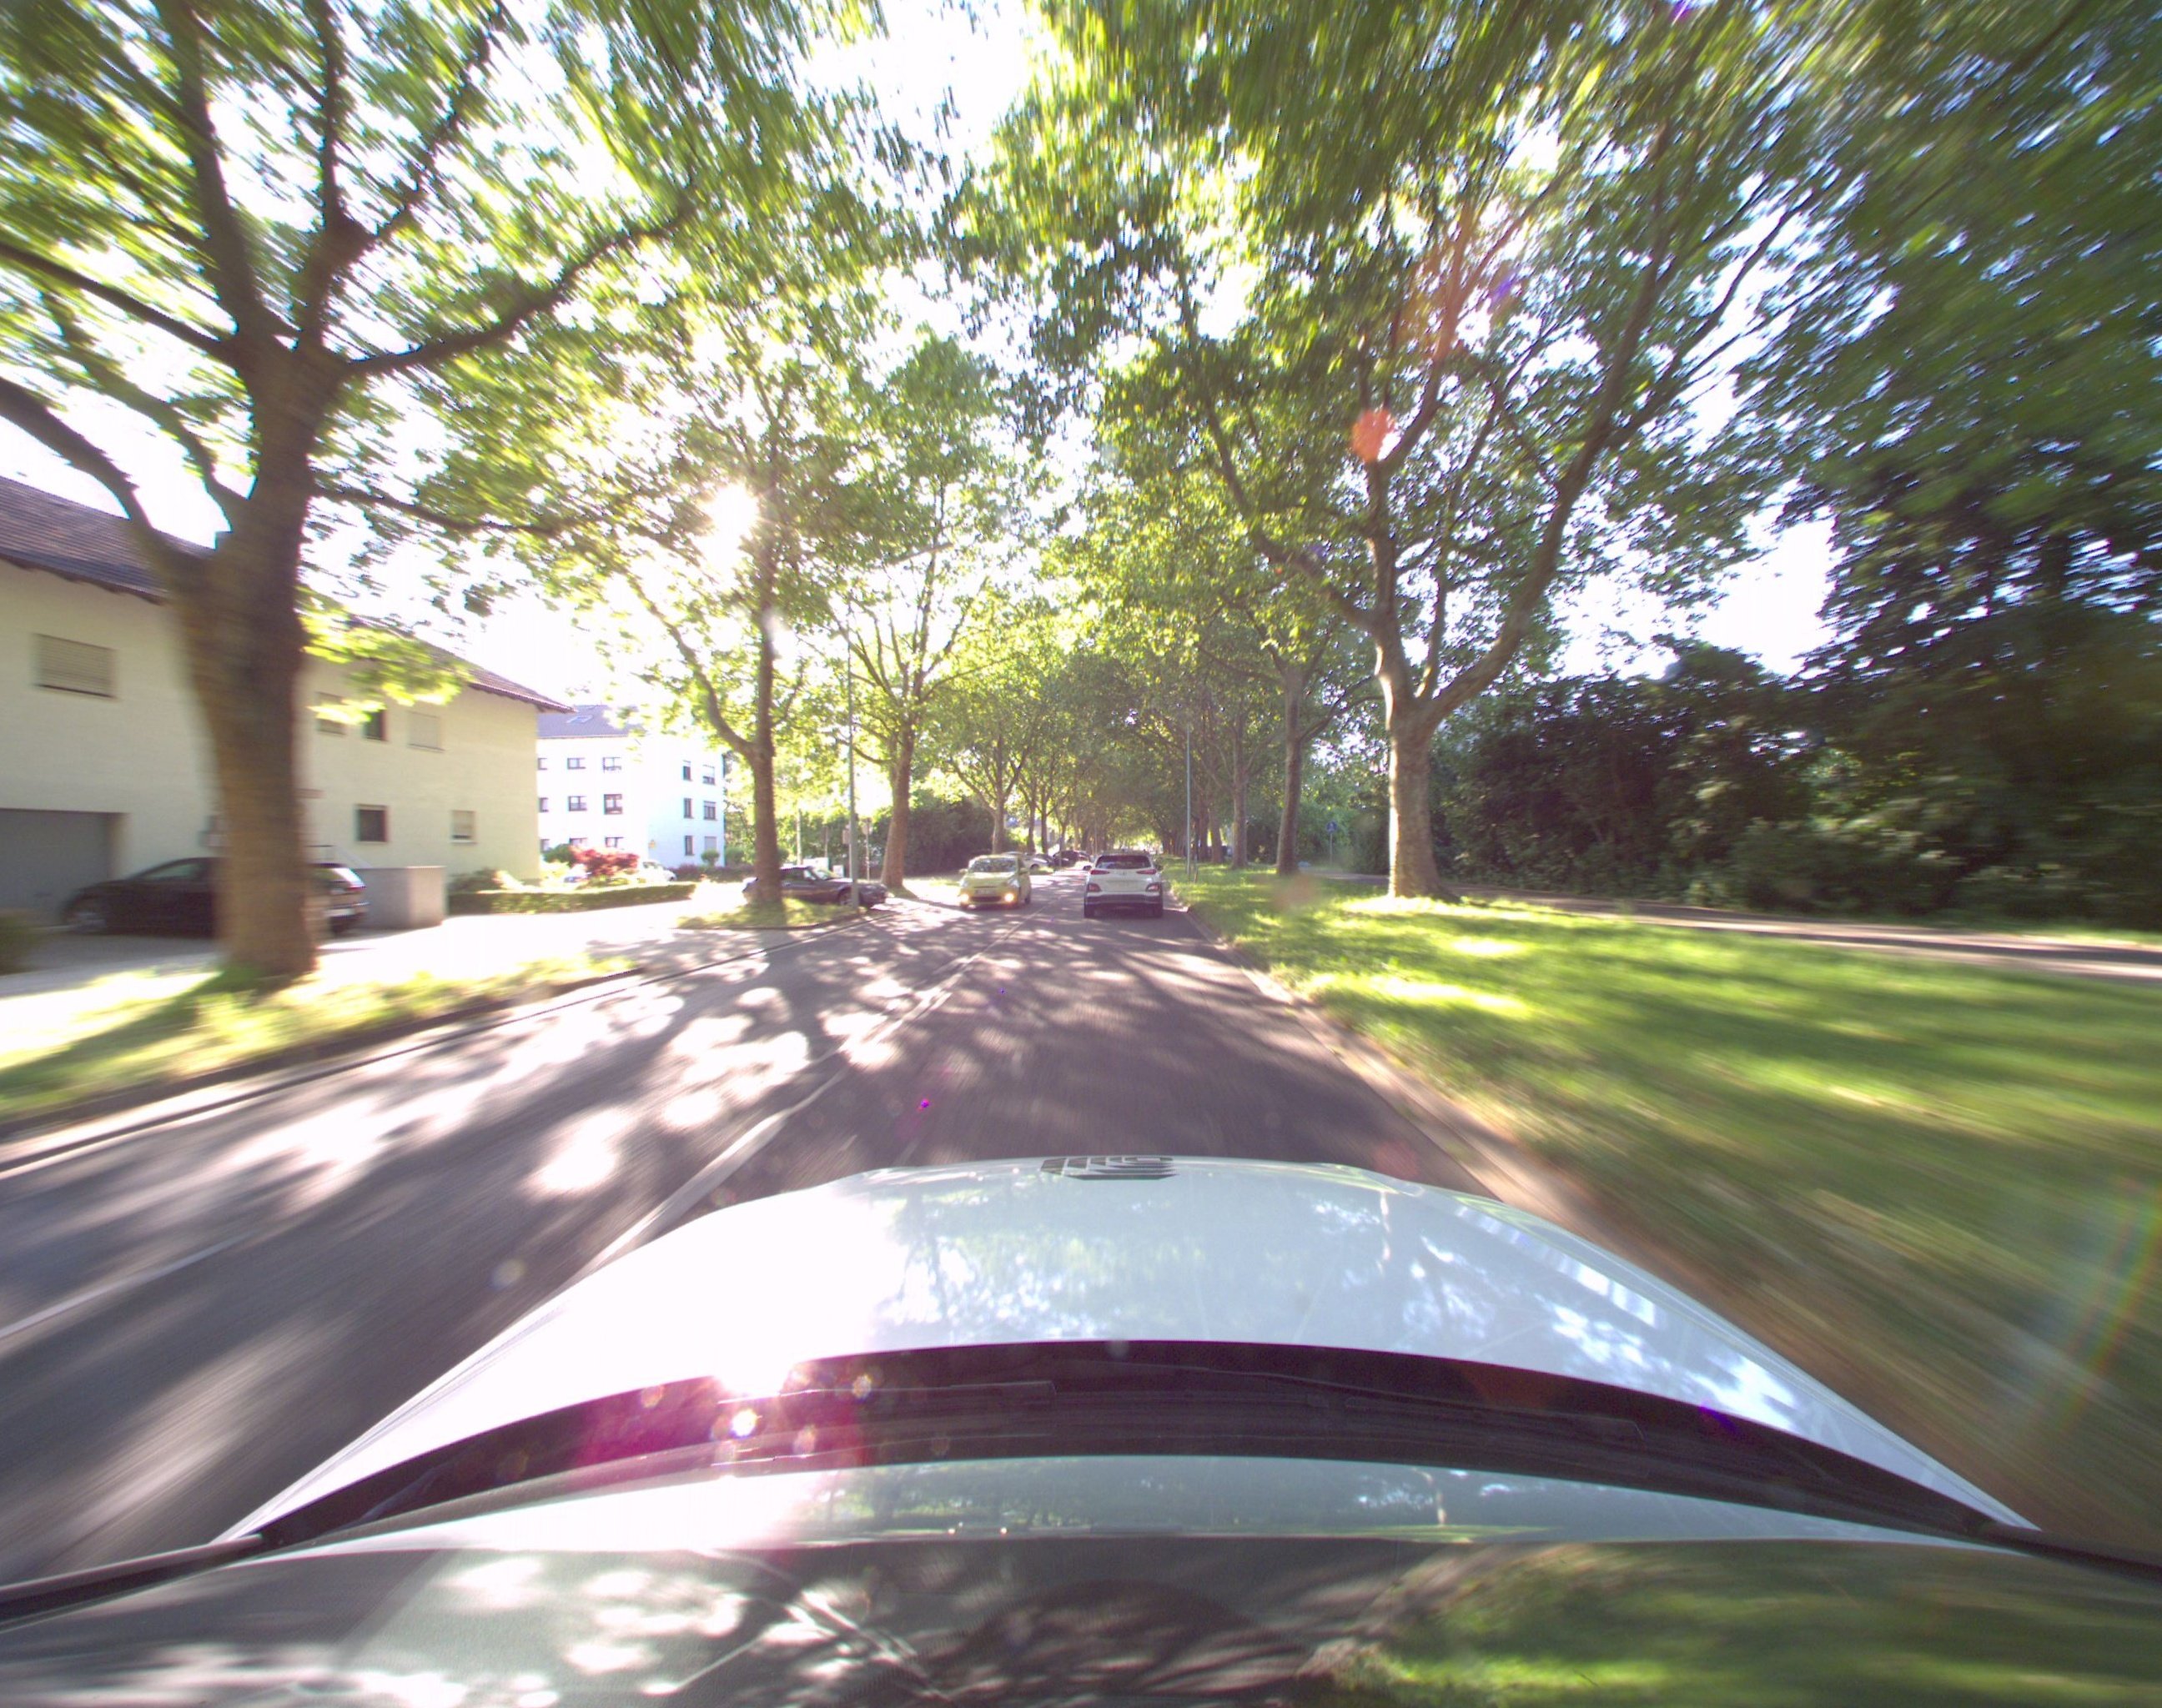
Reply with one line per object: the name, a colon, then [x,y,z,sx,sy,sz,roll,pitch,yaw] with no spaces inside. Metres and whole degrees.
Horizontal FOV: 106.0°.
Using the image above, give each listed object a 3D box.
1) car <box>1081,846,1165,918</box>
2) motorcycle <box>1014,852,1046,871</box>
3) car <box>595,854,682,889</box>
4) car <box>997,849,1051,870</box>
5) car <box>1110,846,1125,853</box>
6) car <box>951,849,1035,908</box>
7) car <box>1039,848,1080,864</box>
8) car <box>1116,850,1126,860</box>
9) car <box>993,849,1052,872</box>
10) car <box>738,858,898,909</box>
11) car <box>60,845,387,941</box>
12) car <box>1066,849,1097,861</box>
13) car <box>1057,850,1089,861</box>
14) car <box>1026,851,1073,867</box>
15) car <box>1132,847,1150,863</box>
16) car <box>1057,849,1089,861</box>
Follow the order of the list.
car: [0.944,0.606,19.982,1.829,1.555,4.000,-1,0,1]
motorcycle: [-3.921,0.547,62.232,2.378,1.388,0.648,-1,1,-1]
car: [-21.419,0.794,39.575,1.987,1.575,4.000,-1,0,0]
car: [-4.533,0.426,65.078,4.146,1.506,1.802,-1,0,0]
car: [9.707,-1.284,216.136,3.974,1.772,2.000,0,0,0]
car: [-2.441,0.653,23.505,1.776,1.512,3.841,-2,0,3]
car: [-2.326,0.195,88.641,4.225,1.680,1.673,-1,0,4]
car: [6.344,0.128,129.113,1.529,1.459,3.187,-1,0,2]
car: [-4.266,0.481,59.955,4.170,1.584,2.000,-1,0,0]
car: [-7.203,0.783,22.577,3.811,1.316,1.790,0,0,1]
car: [-15.517,0.659,14.905,3.971,1.464,1.902,3,0,2]
car: [0.090,0.111,109.814,3.967,1.470,1.812,-1,0,6]
car: [-0.999,0.185,104.192,3.973,1.424,1.809,-1,0,0]
car: [-2.936,0.488,76.553,4.223,1.353,1.742,-2,0,2]
car: [6.635,0.115,90.625,1.671,1.696,3.745,-1,0,0]
car: [-1.036,0.098,107.469,3.970,1.520,1.811,-1,0,3]
